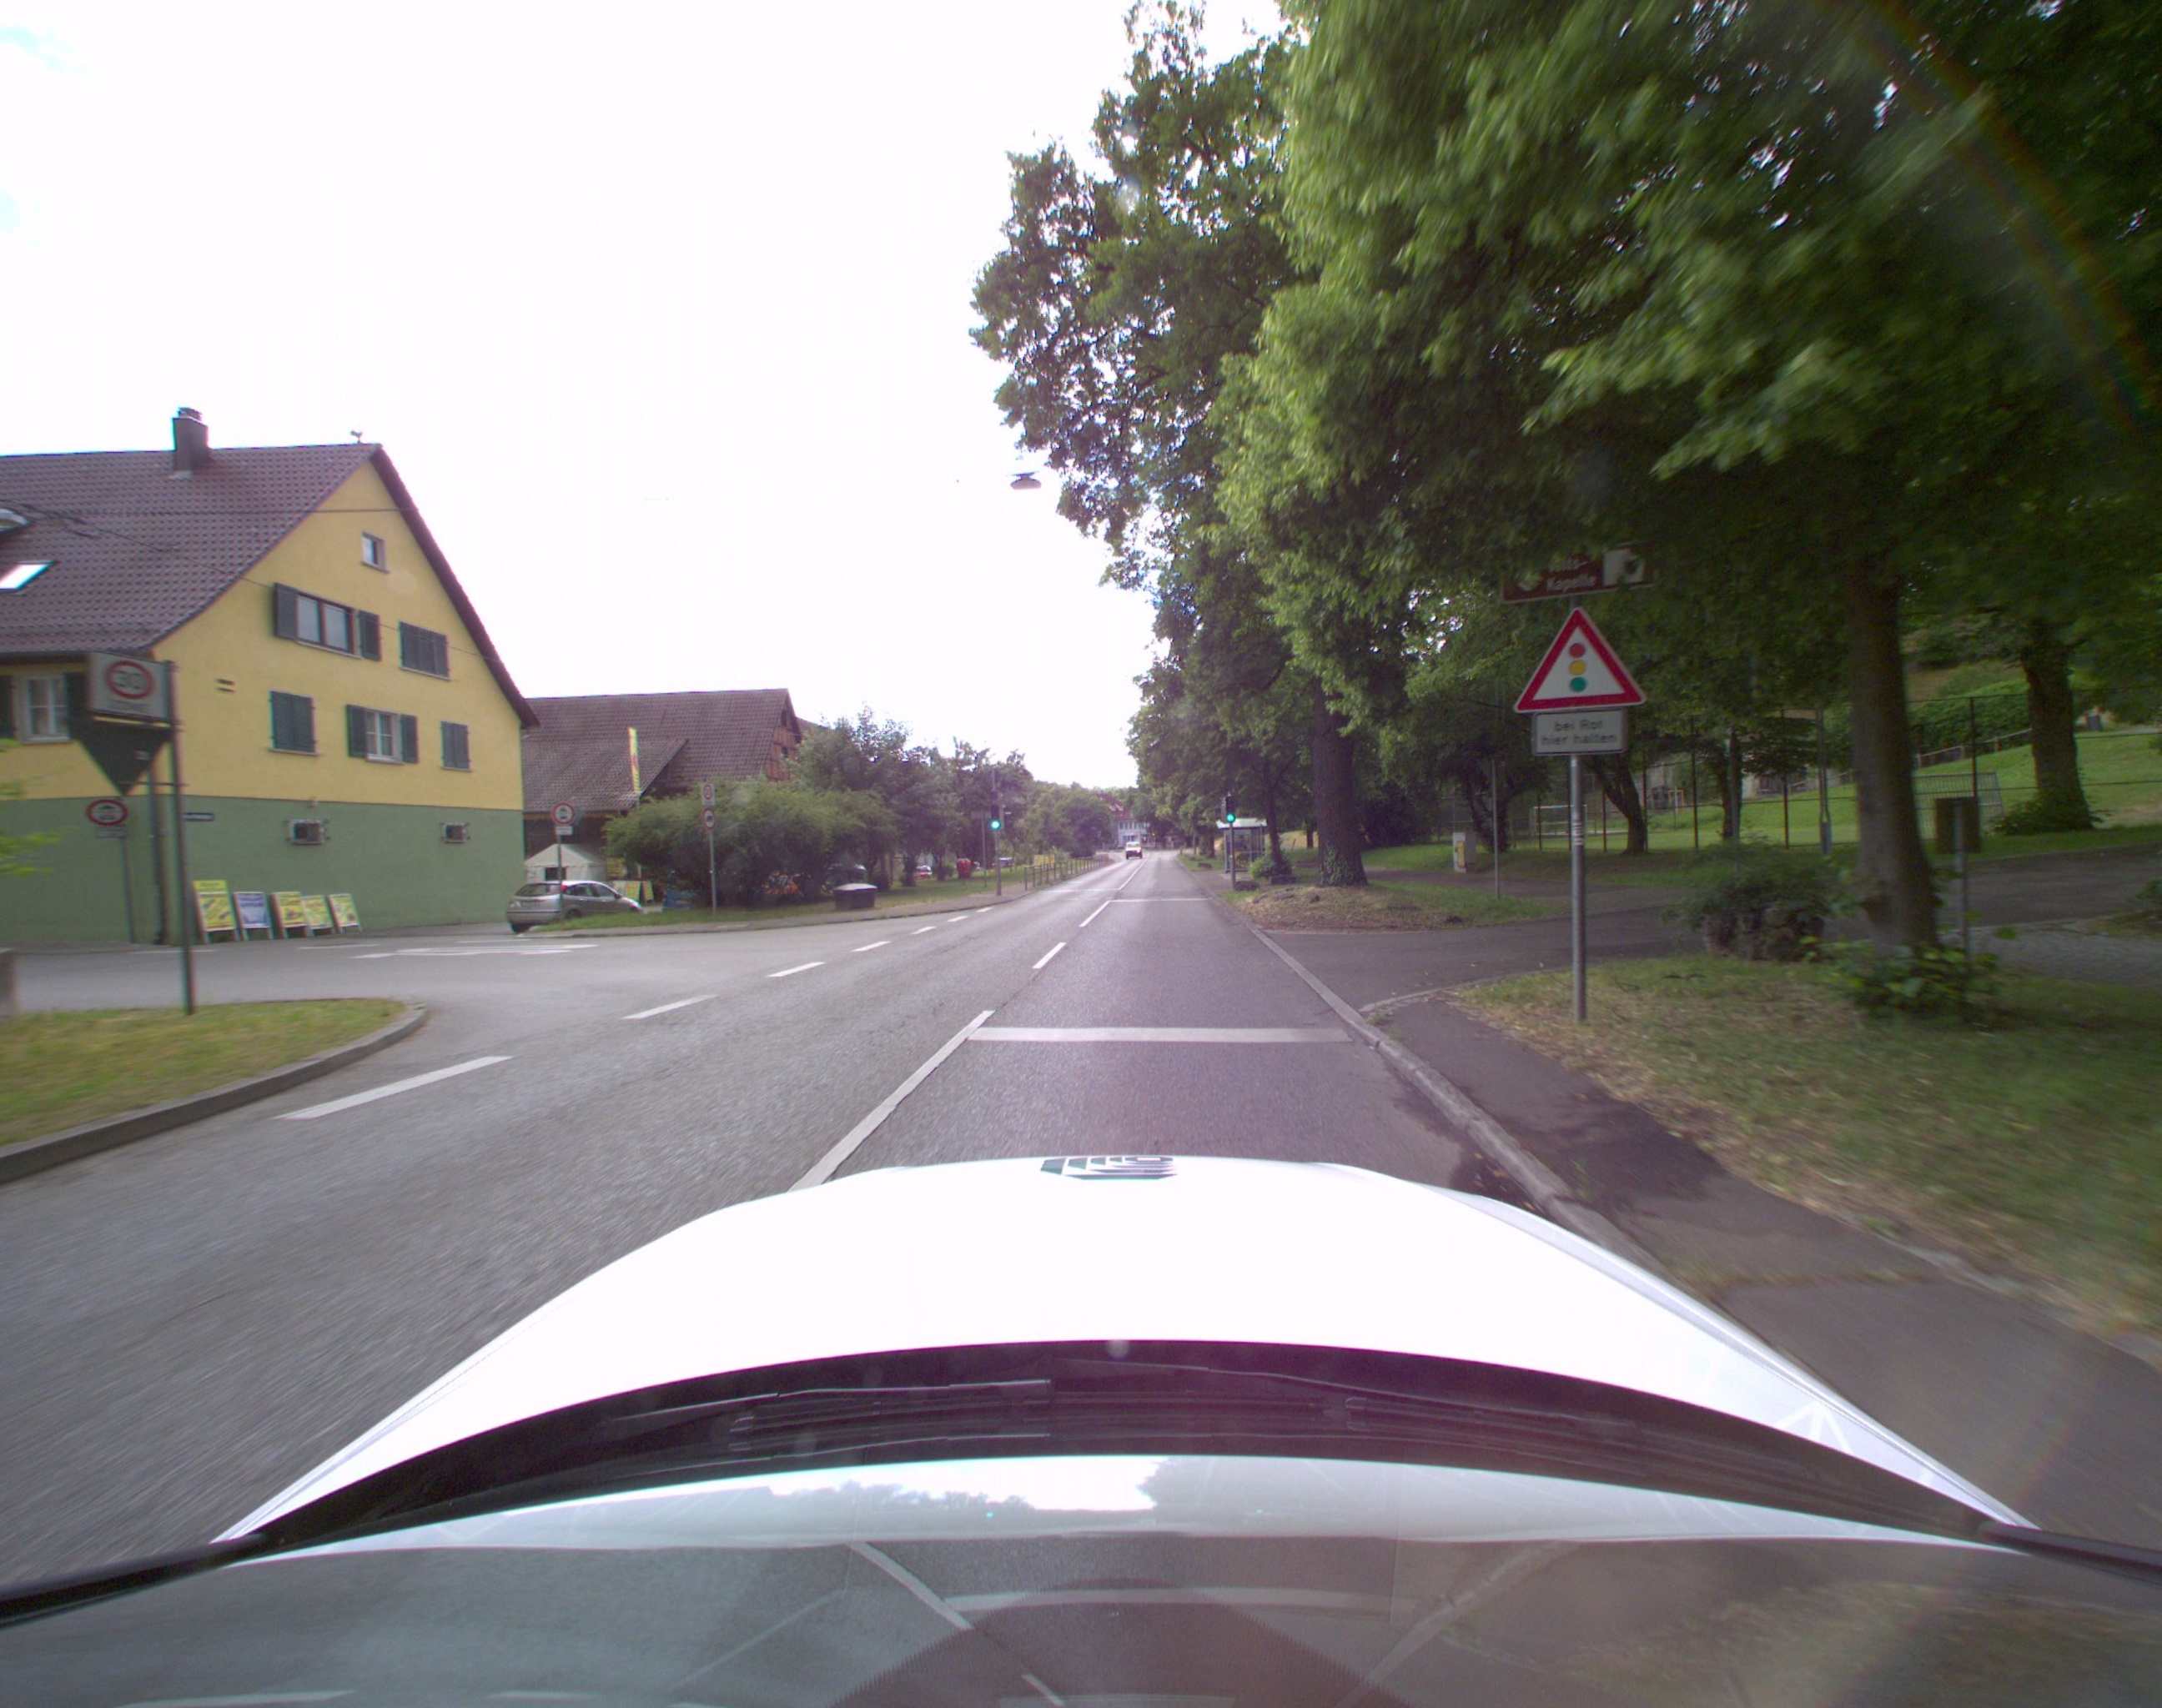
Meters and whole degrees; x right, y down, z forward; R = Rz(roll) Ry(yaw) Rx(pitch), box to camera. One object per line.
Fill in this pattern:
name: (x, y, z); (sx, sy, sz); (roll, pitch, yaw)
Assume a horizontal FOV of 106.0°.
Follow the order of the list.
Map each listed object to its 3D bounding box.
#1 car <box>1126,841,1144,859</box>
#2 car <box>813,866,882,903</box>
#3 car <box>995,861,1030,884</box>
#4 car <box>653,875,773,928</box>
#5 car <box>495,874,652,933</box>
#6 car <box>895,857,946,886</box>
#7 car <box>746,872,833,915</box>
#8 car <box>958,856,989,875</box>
car: (6.288, -0.488, 95.073); (1.836, 1.930, 4.777); (-2, 0, 6)
car: (-12.052, 1.541, 42.301); (1.801, 1.618, 4.010); (-4, 0, 9)
car: (-6.011, 1.618, 72.007); (1.908, 1.695, 4.013); (-4, 0, 12)
car: (-13.916, 1.740, 31.147); (1.982, 1.618, 4.458); (-4, 0, 8)
car: (-14.762, 1.385, 24.003); (1.637, 1.344, 4.159); (-4, 0, 6)
car: (-10.166, 1.098, 51.960); (1.801, 1.618, 4.010); (-4, 0, 9)
car: (-13.103, 1.739, 36.891); (1.937, 1.618, 4.010); (-4, 0, 9)
car: (-8.320, 0.900, 63.276); (1.542, 1.278, 2.562); (-4, 0, 11)
